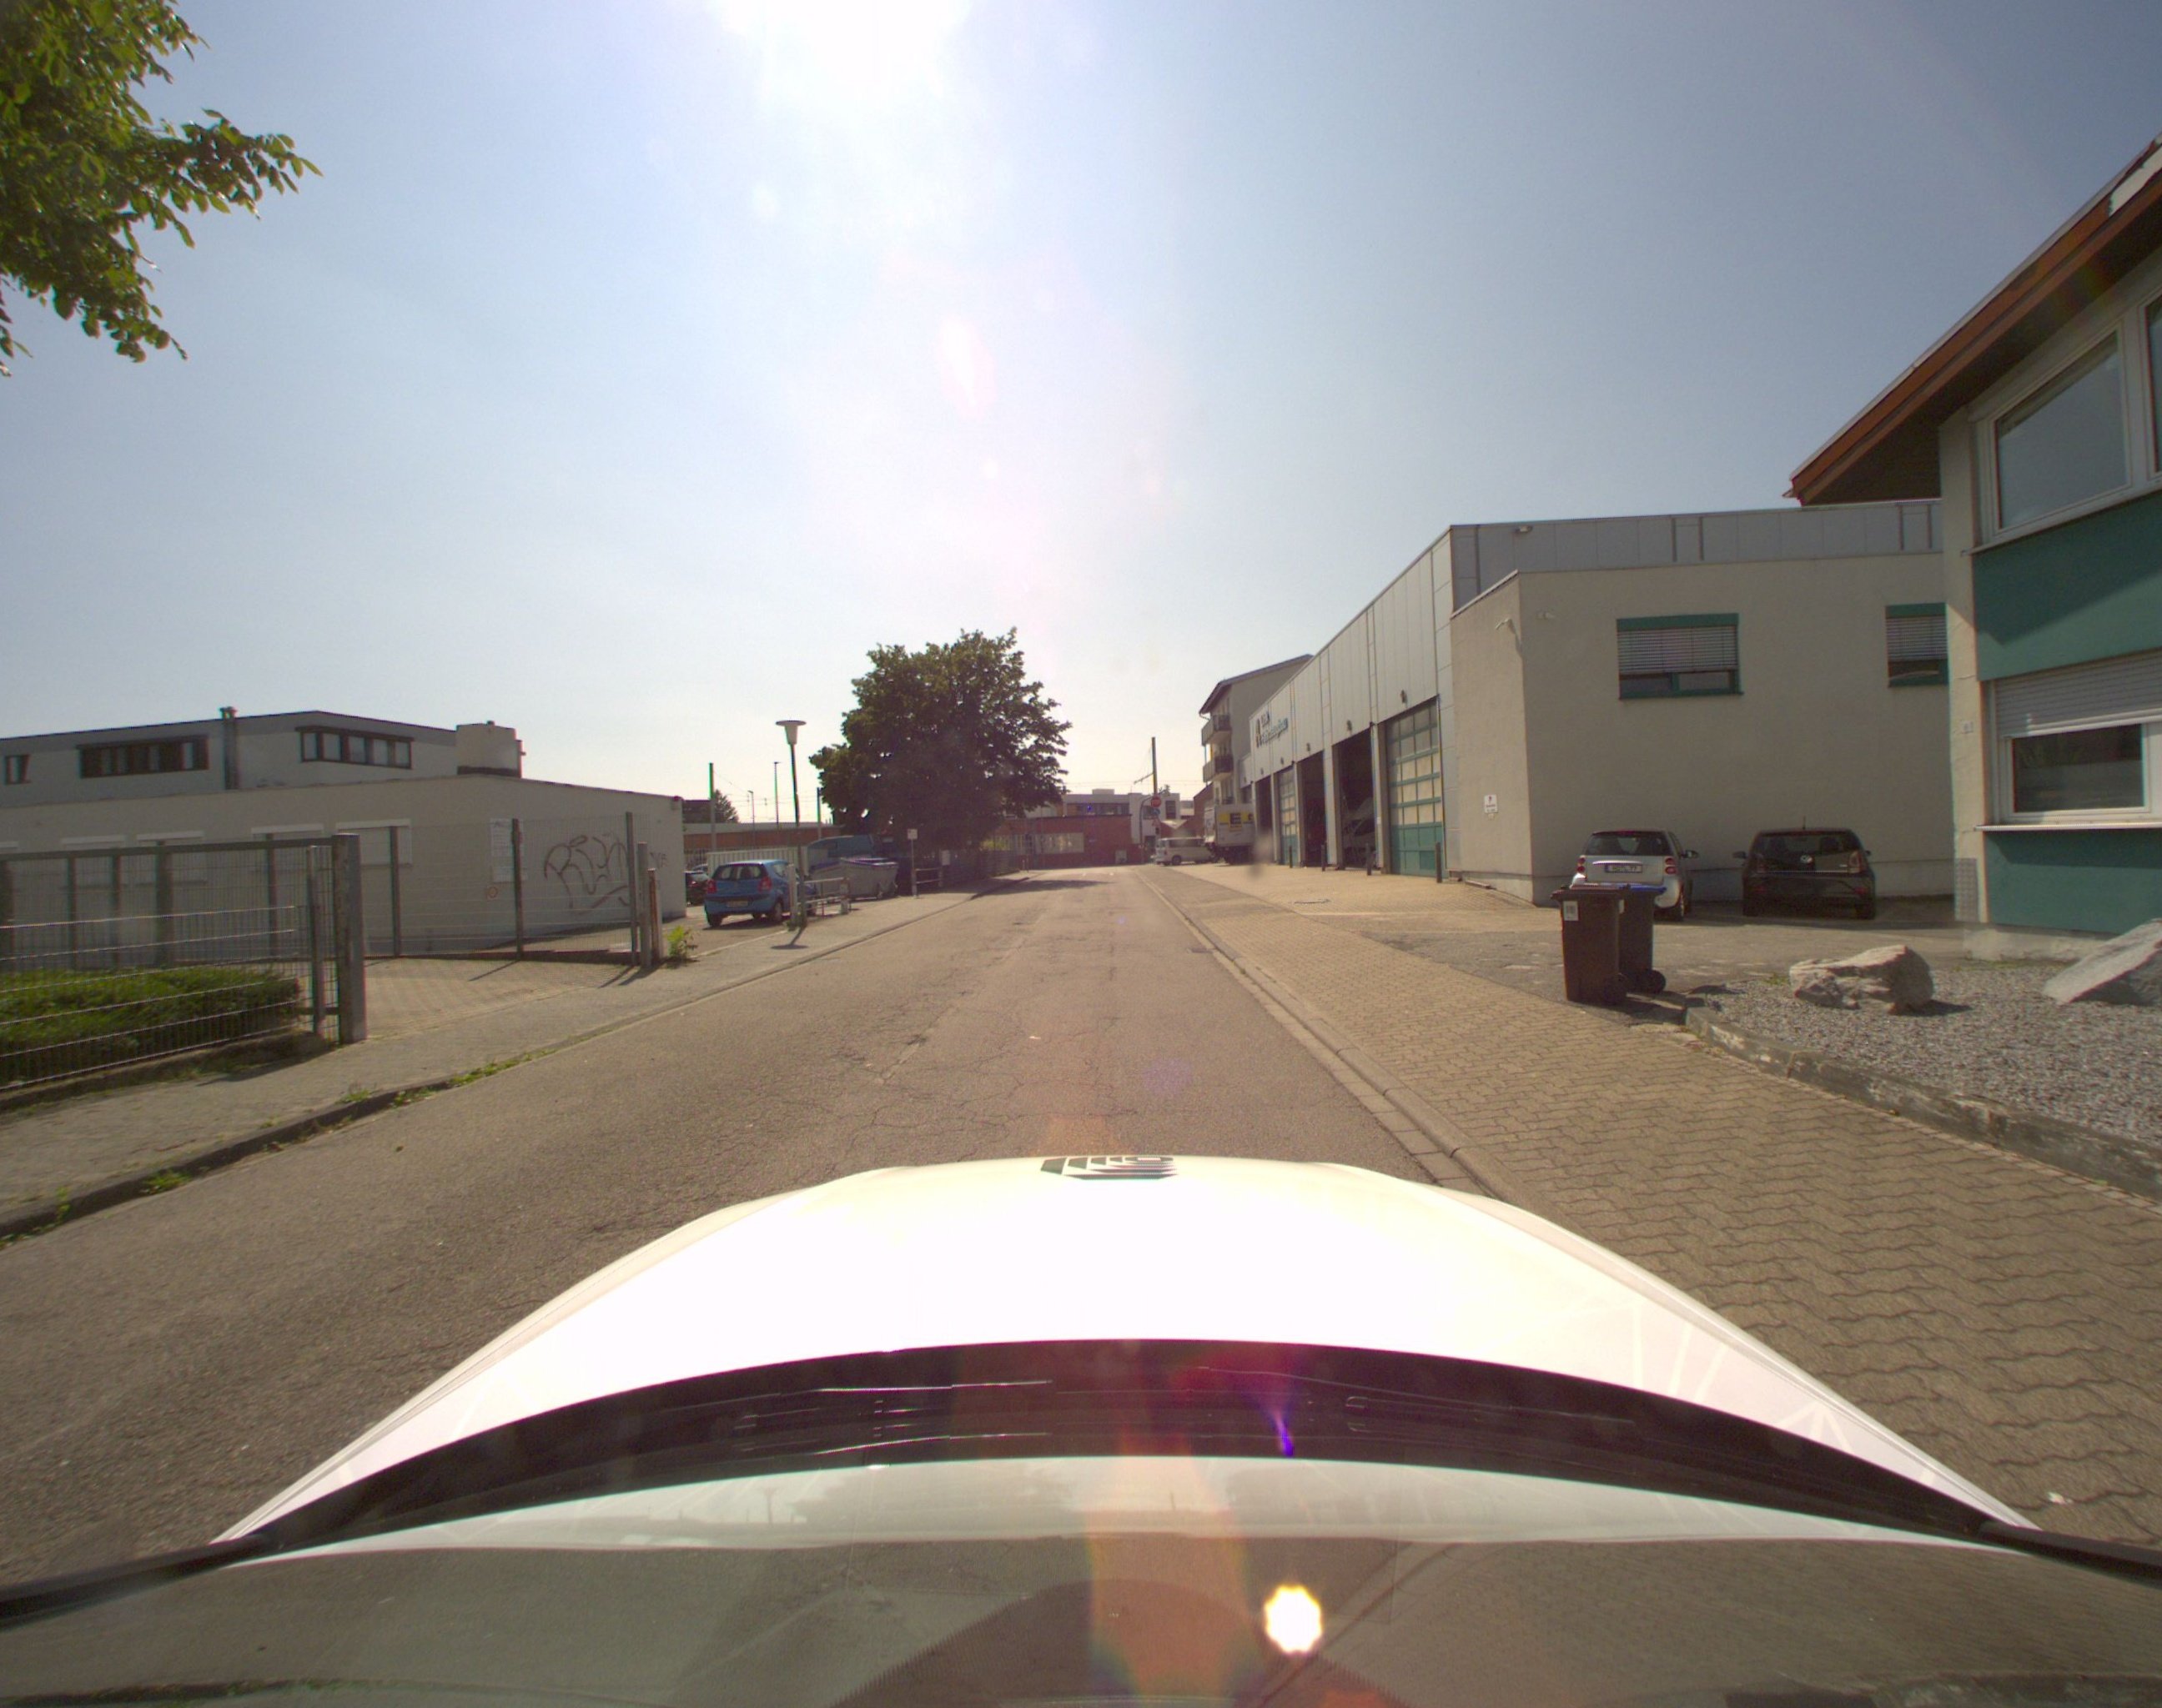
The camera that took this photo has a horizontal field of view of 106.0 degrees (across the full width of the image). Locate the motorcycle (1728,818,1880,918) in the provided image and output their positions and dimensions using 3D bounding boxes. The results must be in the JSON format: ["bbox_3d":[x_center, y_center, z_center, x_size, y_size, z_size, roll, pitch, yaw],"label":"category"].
[{"bbox_3d":[12.701,0.181,14.297,1.756,1.492,3.631,-3,0,43],"label":"motorcycle"}]

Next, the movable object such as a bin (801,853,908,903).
[{"bbox_3d":[-7.828,0.797,28.427,2.612,1.510,2.734,-3,0,7],"label":"movable object such as a bin"}]

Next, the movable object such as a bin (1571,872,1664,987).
[{"bbox_3d":[4.728,0.657,7.200,0.510,0.946,0.489,-3,0,13],"label":"movable object such as a bin"}]

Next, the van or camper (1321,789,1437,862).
[{"bbox_3d":[14.325,-1.351,39.331,4.743,3.288,1.999,-2,0,-2],"label":"van or camper"}]

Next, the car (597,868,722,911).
[{"bbox_3d":[-17.108,1.440,33.176,4.123,1.455,1.756,-3,0,5],"label":"car"}]

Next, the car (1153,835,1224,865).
[{"bbox_3d":[7.724,-0.264,58.676,4.666,1.957,1.905,-2,0,-17],"label":"car"}]

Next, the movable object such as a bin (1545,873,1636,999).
[{"bbox_3d":[4.198,0.653,6.707,0.562,0.946,0.561,-3,0,35],"label":"movable object such as a bin"}]

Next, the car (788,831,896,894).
[{"bbox_3d":[-10.415,0.343,35.645,4.072,2.513,1.777,-2,0,0],"label":"car"}]

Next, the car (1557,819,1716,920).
[{"bbox_3d":[10.107,0.216,14.712,1.756,1.539,3.725,-3,0,43],"label":"car"}]

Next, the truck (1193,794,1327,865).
[{"bbox_3d":[10.952,-1.485,50.181,7.346,3.645,2.764,-5,0,-4],"label":"truck"}]

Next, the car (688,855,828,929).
[{"bbox_3d":[-7.710,0.840,19.837,1.808,1.530,3.675,-3,0,0],"label":"car"}]

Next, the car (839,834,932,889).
[{"bbox_3d":[-9.662,0.377,40.454,4.072,2.513,1.777,-2,0,0],"label":"car"}]
